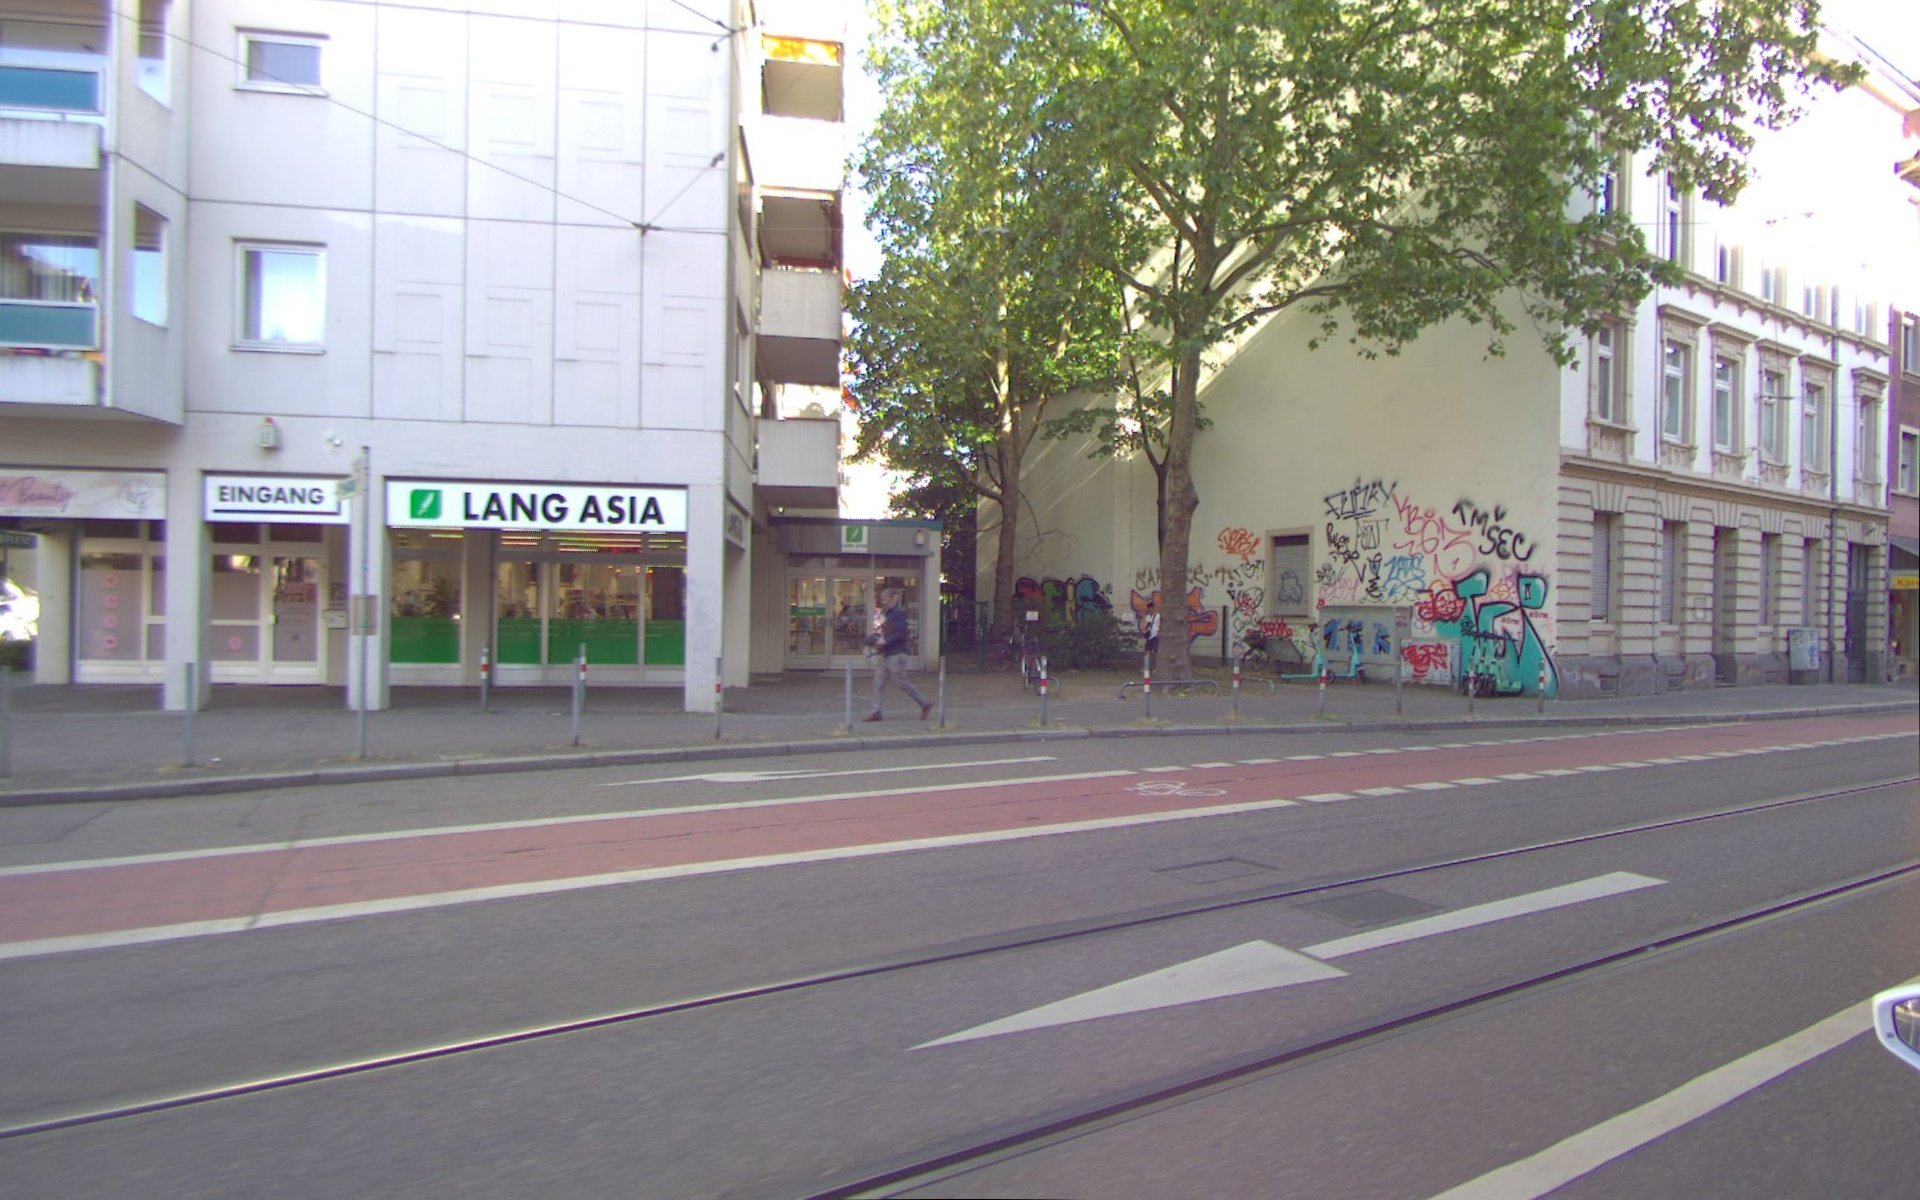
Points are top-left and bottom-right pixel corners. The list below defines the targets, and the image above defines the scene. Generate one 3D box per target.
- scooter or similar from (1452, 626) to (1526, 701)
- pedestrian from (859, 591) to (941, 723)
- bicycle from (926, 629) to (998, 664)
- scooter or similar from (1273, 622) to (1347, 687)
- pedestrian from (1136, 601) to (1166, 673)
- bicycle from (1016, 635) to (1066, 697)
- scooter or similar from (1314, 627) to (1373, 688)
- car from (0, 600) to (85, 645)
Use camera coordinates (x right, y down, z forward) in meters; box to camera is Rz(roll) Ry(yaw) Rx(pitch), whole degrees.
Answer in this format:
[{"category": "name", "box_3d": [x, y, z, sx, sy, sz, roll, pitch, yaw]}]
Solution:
[{"category": "scooter or similar", "box_3d": [9.958, 1.170, 18.912, 1.062, 1.289, 0.784, -1, 3, -31]}, {"category": "pedestrian", "box_3d": [-0.847, 0.778, 14.105, 1.010, 1.789, 0.681, 0, 0, -20]}, {"category": "bicycle", "box_3d": [0.057, 1.291, 27.957, 1.951, 0.925, 0.503, 1, -1, -17]}, {"category": "scooter or similar", "box_3d": [7.240, 1.113, 20.797, 0.762, 1.274, 1.217, 1, -1, -42]}, {"category": "pedestrian", "box_3d": [4.665, 0.909, 24.576, 0.541, 1.740, 0.453, 1, -1, -31]}, {"category": "bicycle", "box_3d": [1.474, 1.197, 18.603, 0.652, 1.048, 1.921, 1, -1, -4]}, {"category": "scooter or similar", "box_3d": [8.062, 1.192, 21.124, 0.762, 1.238, 0.928, 1, -1, -42]}, {"category": "car", "box_3d": [-33.087, 0.755, 34.990, 1.962, 1.483, 3.996, 1, -1, -6]}]
